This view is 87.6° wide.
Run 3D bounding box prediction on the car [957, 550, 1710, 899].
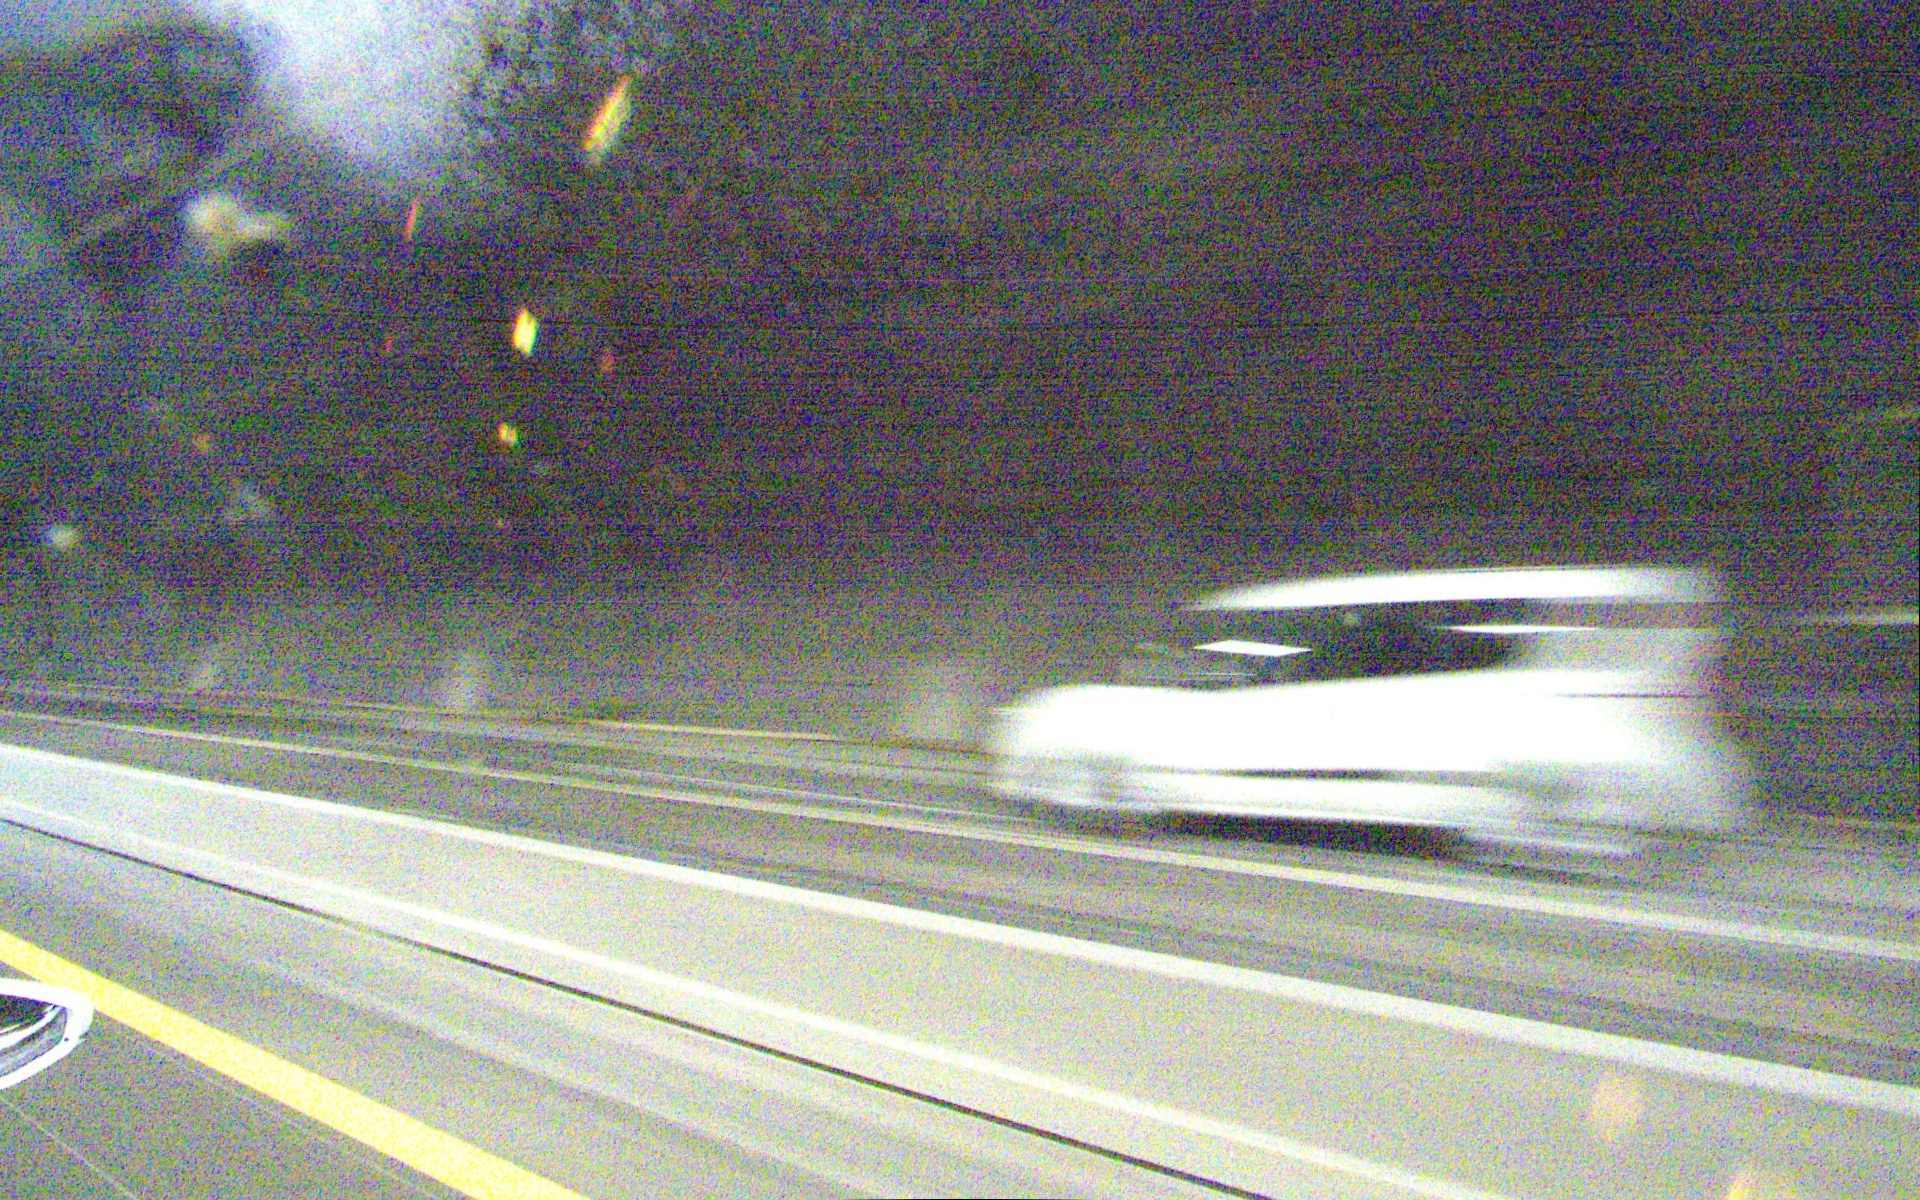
[{"bbox_3d":[2.400,0.701,7.222,4.573,1.869,1.750,0,-1,28],"label":"car"}]
